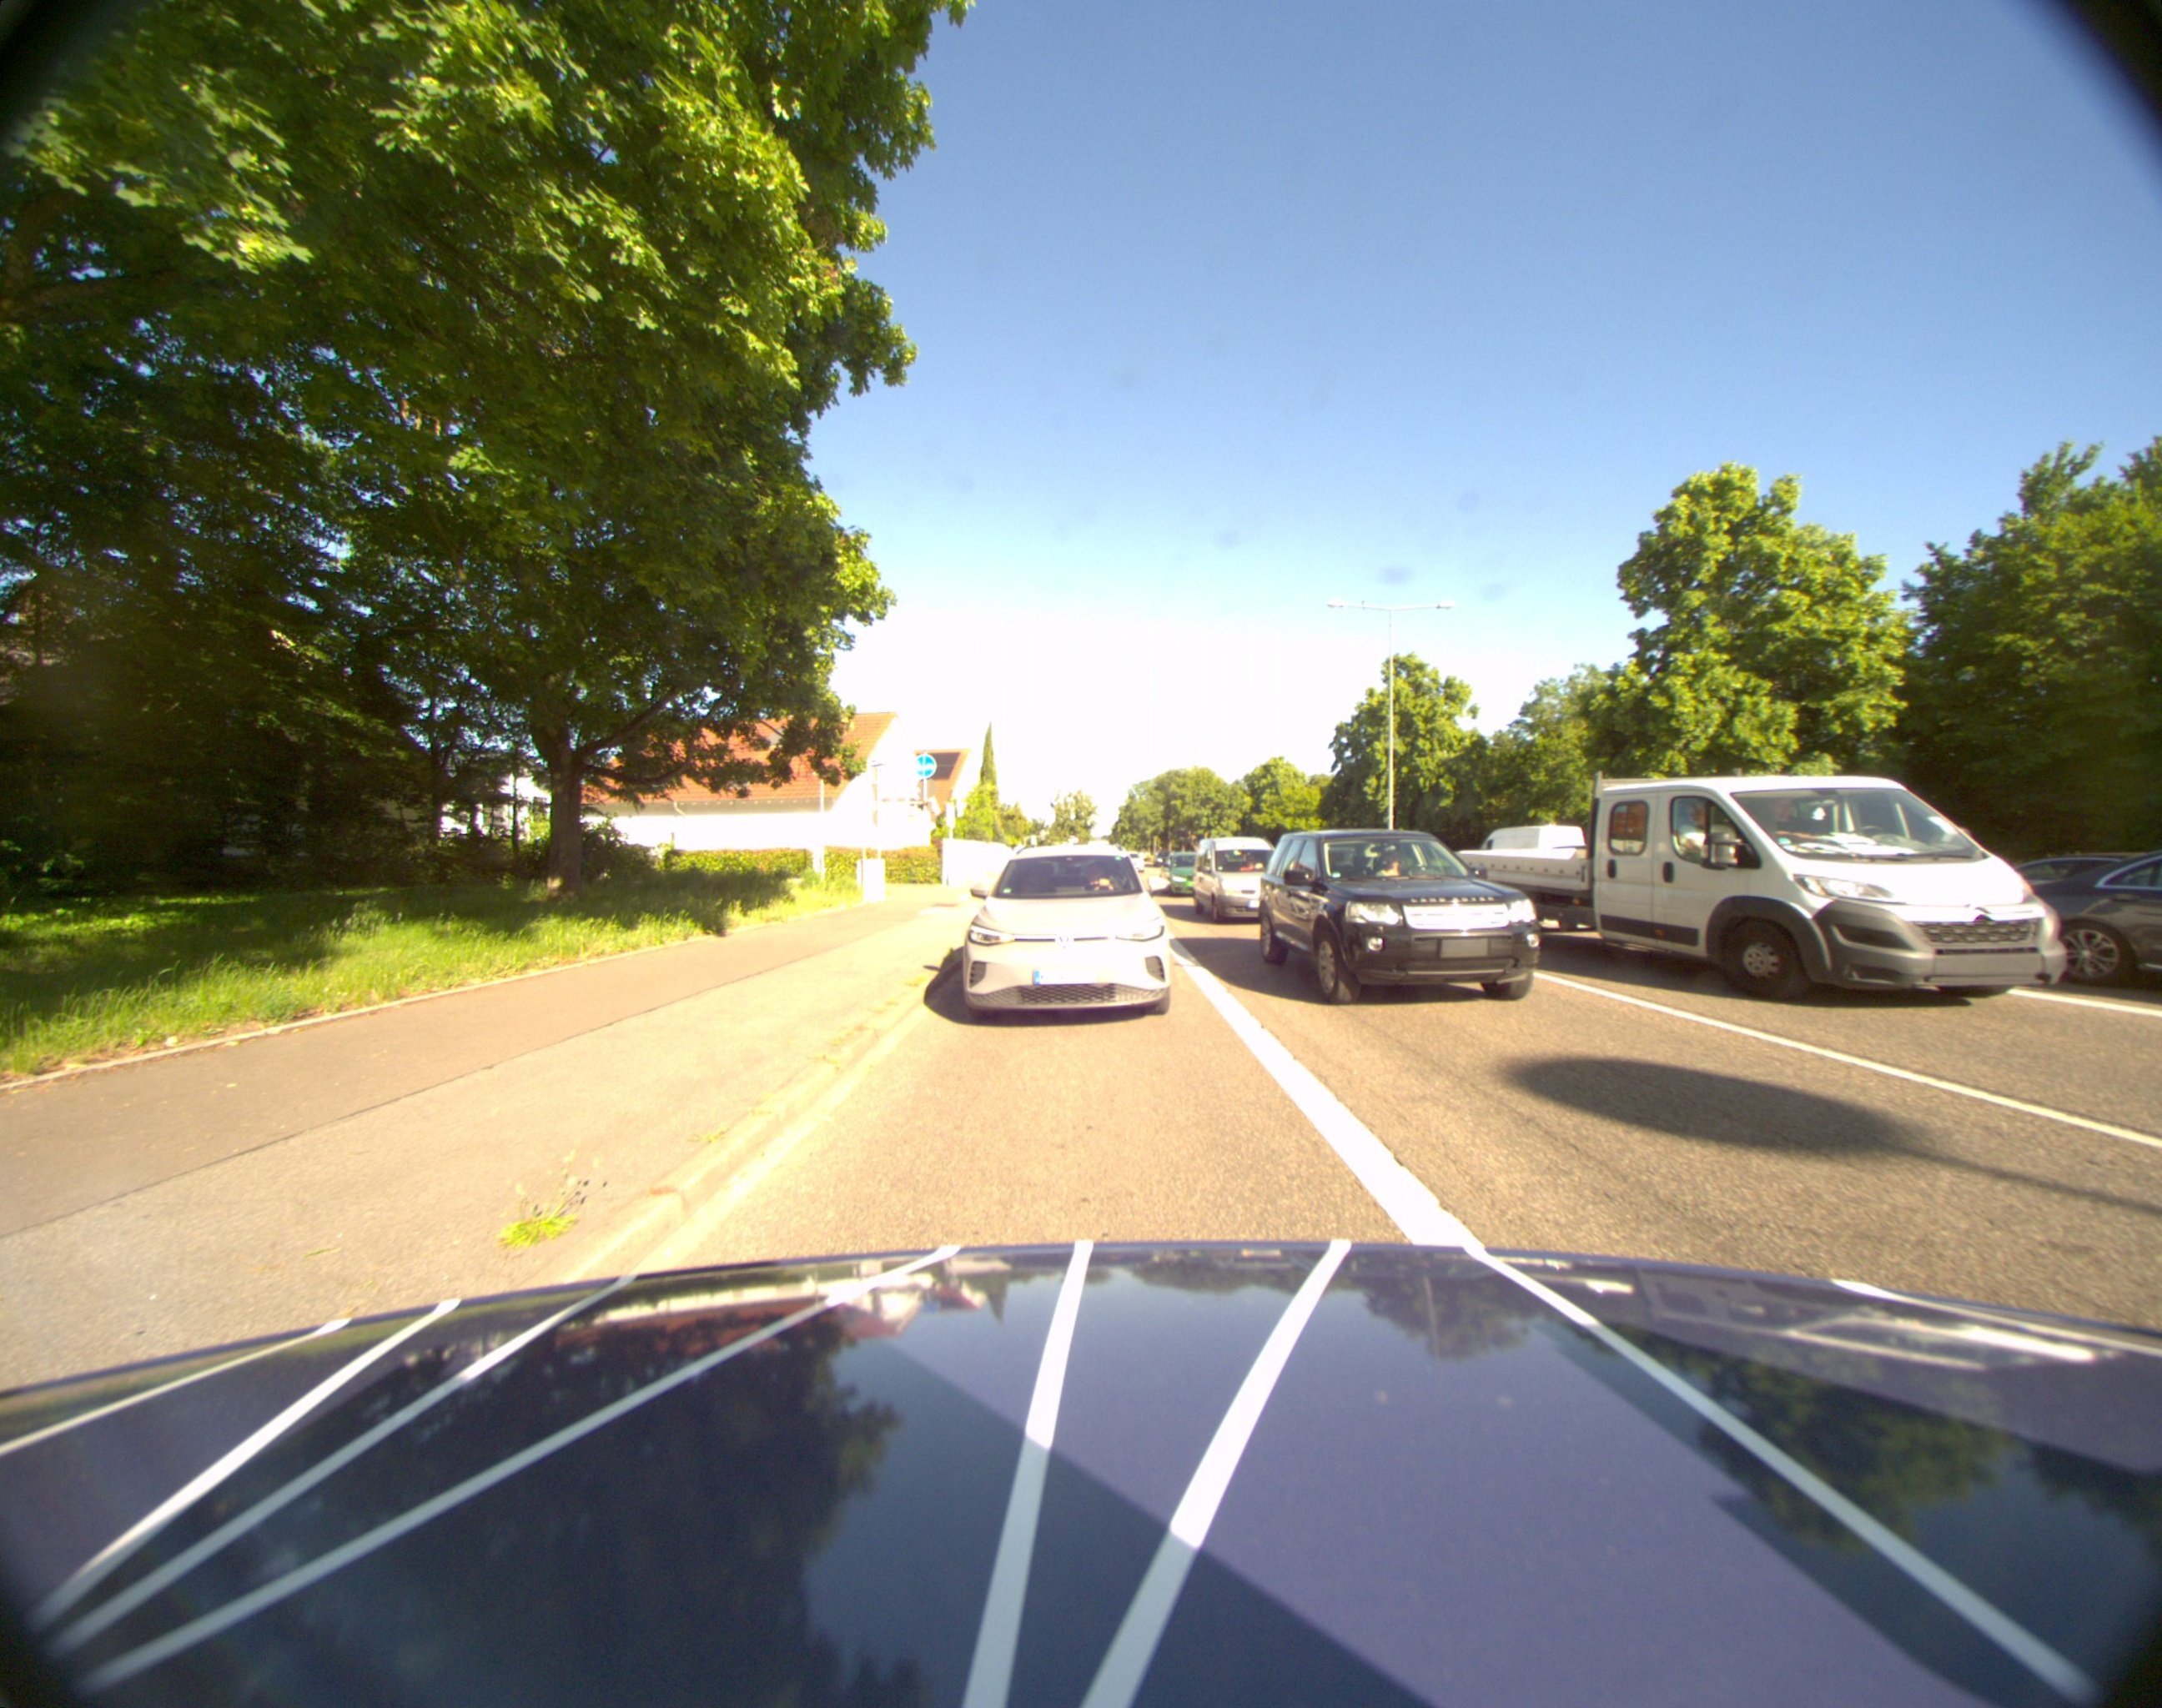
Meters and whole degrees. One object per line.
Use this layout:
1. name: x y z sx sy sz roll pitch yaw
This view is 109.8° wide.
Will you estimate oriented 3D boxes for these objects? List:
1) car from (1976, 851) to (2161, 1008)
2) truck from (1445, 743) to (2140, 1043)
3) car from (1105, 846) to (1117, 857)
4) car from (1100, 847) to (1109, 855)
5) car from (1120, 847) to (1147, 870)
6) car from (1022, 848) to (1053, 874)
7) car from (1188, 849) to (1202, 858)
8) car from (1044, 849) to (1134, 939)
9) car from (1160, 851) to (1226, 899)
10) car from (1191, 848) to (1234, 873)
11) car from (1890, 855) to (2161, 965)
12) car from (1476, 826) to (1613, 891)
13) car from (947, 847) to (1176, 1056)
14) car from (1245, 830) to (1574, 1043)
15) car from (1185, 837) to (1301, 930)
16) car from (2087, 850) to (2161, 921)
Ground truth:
1. car: 10.718 0.693 6.049 1.835 1.421 4.552 0 0 1
2. truck: 7.241 0.253 9.402 2.185 2.307 6.841 -2 1 0
3. car: 4.619 -0.360 116.237 1.726 1.630 4.000 0 0 1
4. car: 4.777 -0.571 155.584 1.726 1.630 4.000 0 0 1
5. car: 3.698 0.302 54.213 1.726 1.630 4.000 0 0 1
6. car: -2.634 0.421 47.089 1.630 1.523 3.931 -1 0 1
7. car: 20.118 -0.031 134.319 1.893 1.515 4.503 0 1 0
8. car: 0.186 0.738 16.240 1.632 1.586 4.024 -2 1 1
9. car: 3.637 0.643 25.235 1.630 1.466 3.931 0 0 1
10. car: 7.880 0.343 45.762 1.727 1.436 3.999 0 0 -3
11. car: 15.451 0.759 11.606 1.780 1.454 4.164 0 0 1
12. car: 19.392 0.146 32.232 2.105 2.478 6.003 0 0 -1
13. car: -0.126 0.775 8.294 1.858 1.679 4.206 0 1 1
14. car: 3.197 0.651 8.484 1.816 1.721 4.385 -2 1 1
15. car: 3.398 0.528 16.698 1.632 1.741 4.385 -2 1 1
16. car: 19.220 0.546 12.172 1.393 1.227 3.636 0 0 1
